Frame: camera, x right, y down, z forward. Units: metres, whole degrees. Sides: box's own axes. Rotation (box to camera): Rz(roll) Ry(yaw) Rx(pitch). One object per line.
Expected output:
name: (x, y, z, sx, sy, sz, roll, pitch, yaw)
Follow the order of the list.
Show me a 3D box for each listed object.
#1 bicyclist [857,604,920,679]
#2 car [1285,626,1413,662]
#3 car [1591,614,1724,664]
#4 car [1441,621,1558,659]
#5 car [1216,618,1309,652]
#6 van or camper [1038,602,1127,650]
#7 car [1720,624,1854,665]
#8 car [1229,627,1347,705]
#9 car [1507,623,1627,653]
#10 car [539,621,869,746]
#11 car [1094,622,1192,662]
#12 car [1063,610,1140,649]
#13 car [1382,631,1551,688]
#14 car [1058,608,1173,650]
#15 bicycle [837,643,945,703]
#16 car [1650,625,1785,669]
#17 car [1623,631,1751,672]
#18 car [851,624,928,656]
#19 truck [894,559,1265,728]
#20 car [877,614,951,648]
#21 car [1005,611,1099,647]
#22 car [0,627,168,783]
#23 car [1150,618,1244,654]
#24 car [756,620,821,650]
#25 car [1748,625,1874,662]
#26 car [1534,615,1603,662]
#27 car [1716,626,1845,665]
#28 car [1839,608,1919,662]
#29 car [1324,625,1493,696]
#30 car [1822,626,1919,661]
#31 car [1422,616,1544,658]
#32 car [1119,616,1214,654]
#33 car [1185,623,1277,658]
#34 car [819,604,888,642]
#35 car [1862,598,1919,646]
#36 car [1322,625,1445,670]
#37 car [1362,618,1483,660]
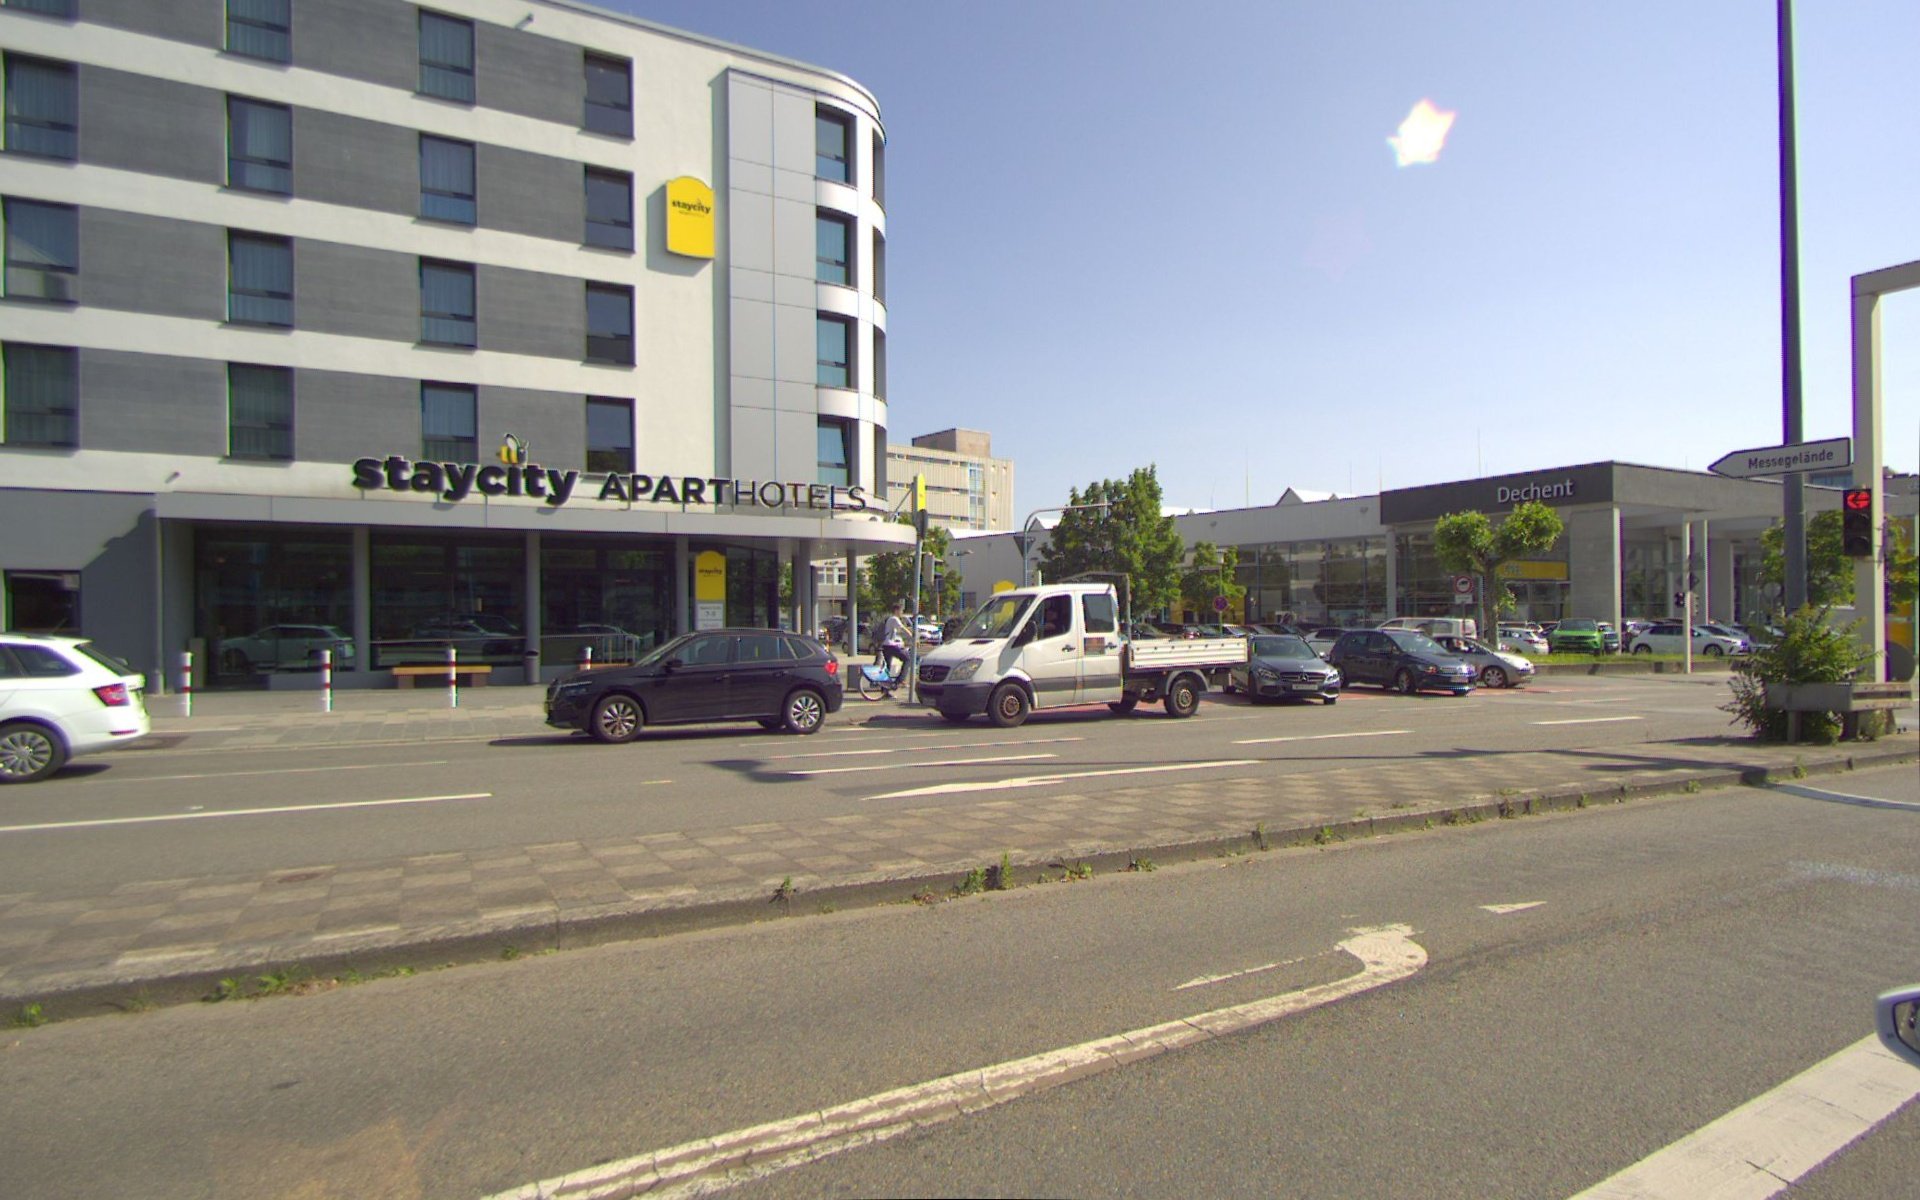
bicyclist: (-1.438, 0.832, 20.294, 1.018, 1.479, 0.762, 1, -1, -39)
car: (15.089, 1.682, 39.126, 1.980, 1.317, 4.328, 1, -2, -35)
car: (27.362, 1.495, 39.495, 1.978, 1.862, 3.849, 1, -1, -32)
car: (24.564, 1.787, 45.881, 1.982, 1.612, 4.325, 1, -2, -37)
car: (15.825, 1.800, 52.696, 1.982, 1.719, 4.324, 1, -2, -37)
van or camper: (6.416, 1.348, 53.002, 1.983, 2.432, 4.678, 1, -2, -38)
car: (37.451, 1.978, 45.595, 1.978, 1.719, 4.333, 1, -1, -32)
car: (7.195, 1.383, 22.388, 1.866, 1.378, 4.002, 3, 1, 10)
car: (27.878, 1.747, 46.268, 1.982, 1.284, 4.325, 4, -4, -37)
car: (-3.726, 1.163, 14.774, 4.360, 1.598, 1.985, 1, -4, -30)
car: (8.336, 1.895, 46.048, 1.980, 1.719, 4.328, 1, -2, -35)
car: (7.768, 1.620, 55.306, 1.983, 2.040, 3.956, 1, -2, -38)
car: (14.529, 1.663, 28.928, 3.943, 1.349, 1.989, 2, 0, 43)
car: (5.695, 1.058, 37.141, 1.982, 1.461, 3.957, 1, -2, -38)
bicycle: (-1.373, 1.451, 20.342, 2.143, 1.131, 0.762, 1, -2, -39)
car: (32.768, 1.977, 43.559, 1.978, 1.789, 4.274, 1, -1, -32)
car: (30.517, 2.119, 42.251, 1.981, 1.620, 3.959, 1, -1, -36)
car: (-3.441, 1.898, 48.706, 1.764, 1.457, 3.869, 1, -2, -41)
truck: (2.196, 0.758, 17.825, 6.355, 2.578, 2.349, 1, -2, -28)
car: (-2.748, 1.823, 59.220, 1.971, 1.815, 4.376, 2, 0, -42)
car: (4.578, 1.415, 50.251, 4.304, 1.719, 1.991, -1, -2, 39)
car: (-10.670, 1.040, 9.887, 4.370, 1.505, 1.980, 2, -4, -36)
car: (11.658, 1.741, 49.702, 1.980, 1.719, 4.328, 1, -2, -35)
car: (-9.566, 1.920, 55.755, 1.979, 1.466, 4.331, 1, -1, -33)
car: (41.565, 2.075, 49.165, 1.978, 1.719, 4.333, 1, -2, -32)
car: (24.004, 1.533, 39.719, 1.870, 1.756, 3.293, 0, -3, 23)
car: (38.831, 2.108, 47.644, 1.978, 1.719, 4.333, 1, -2, -32)
car: (49.100, 1.813, 52.393, 2.096, 2.720, 4.490, 1, -1, -21)
car: (11.336, 1.485, 25.726, 1.859, 1.639, 4.124, 1, -1, -14)
car: (47.012, 2.173, 51.167, 1.973, 1.719, 4.345, 1, -1, -24)
car: (22.717, 1.591, 43.779, 1.982, 1.719, 4.323, 1, -2, -38)
car: (9.892, 1.664, 48.325, 1.980, 1.719, 4.328, 1, -2, -35)
car: (13.809, 2.042, 51.441, 1.980, 1.719, 4.328, 1, -2, -35)
car: (-6.770, 1.436, 63.491, 1.985, 2.158, 4.565, 2, 0, -42)
car: (53.249, 1.220, 55.754, 1.973, 2.635, 4.345, 1, -1, -24)
car: (17.463, 1.923, 41.616, 1.980, 1.719, 4.328, 1, -2, -35)
car: (19.868, 1.627, 43.306, 1.982, 1.719, 4.323, 1, -2, -38)
